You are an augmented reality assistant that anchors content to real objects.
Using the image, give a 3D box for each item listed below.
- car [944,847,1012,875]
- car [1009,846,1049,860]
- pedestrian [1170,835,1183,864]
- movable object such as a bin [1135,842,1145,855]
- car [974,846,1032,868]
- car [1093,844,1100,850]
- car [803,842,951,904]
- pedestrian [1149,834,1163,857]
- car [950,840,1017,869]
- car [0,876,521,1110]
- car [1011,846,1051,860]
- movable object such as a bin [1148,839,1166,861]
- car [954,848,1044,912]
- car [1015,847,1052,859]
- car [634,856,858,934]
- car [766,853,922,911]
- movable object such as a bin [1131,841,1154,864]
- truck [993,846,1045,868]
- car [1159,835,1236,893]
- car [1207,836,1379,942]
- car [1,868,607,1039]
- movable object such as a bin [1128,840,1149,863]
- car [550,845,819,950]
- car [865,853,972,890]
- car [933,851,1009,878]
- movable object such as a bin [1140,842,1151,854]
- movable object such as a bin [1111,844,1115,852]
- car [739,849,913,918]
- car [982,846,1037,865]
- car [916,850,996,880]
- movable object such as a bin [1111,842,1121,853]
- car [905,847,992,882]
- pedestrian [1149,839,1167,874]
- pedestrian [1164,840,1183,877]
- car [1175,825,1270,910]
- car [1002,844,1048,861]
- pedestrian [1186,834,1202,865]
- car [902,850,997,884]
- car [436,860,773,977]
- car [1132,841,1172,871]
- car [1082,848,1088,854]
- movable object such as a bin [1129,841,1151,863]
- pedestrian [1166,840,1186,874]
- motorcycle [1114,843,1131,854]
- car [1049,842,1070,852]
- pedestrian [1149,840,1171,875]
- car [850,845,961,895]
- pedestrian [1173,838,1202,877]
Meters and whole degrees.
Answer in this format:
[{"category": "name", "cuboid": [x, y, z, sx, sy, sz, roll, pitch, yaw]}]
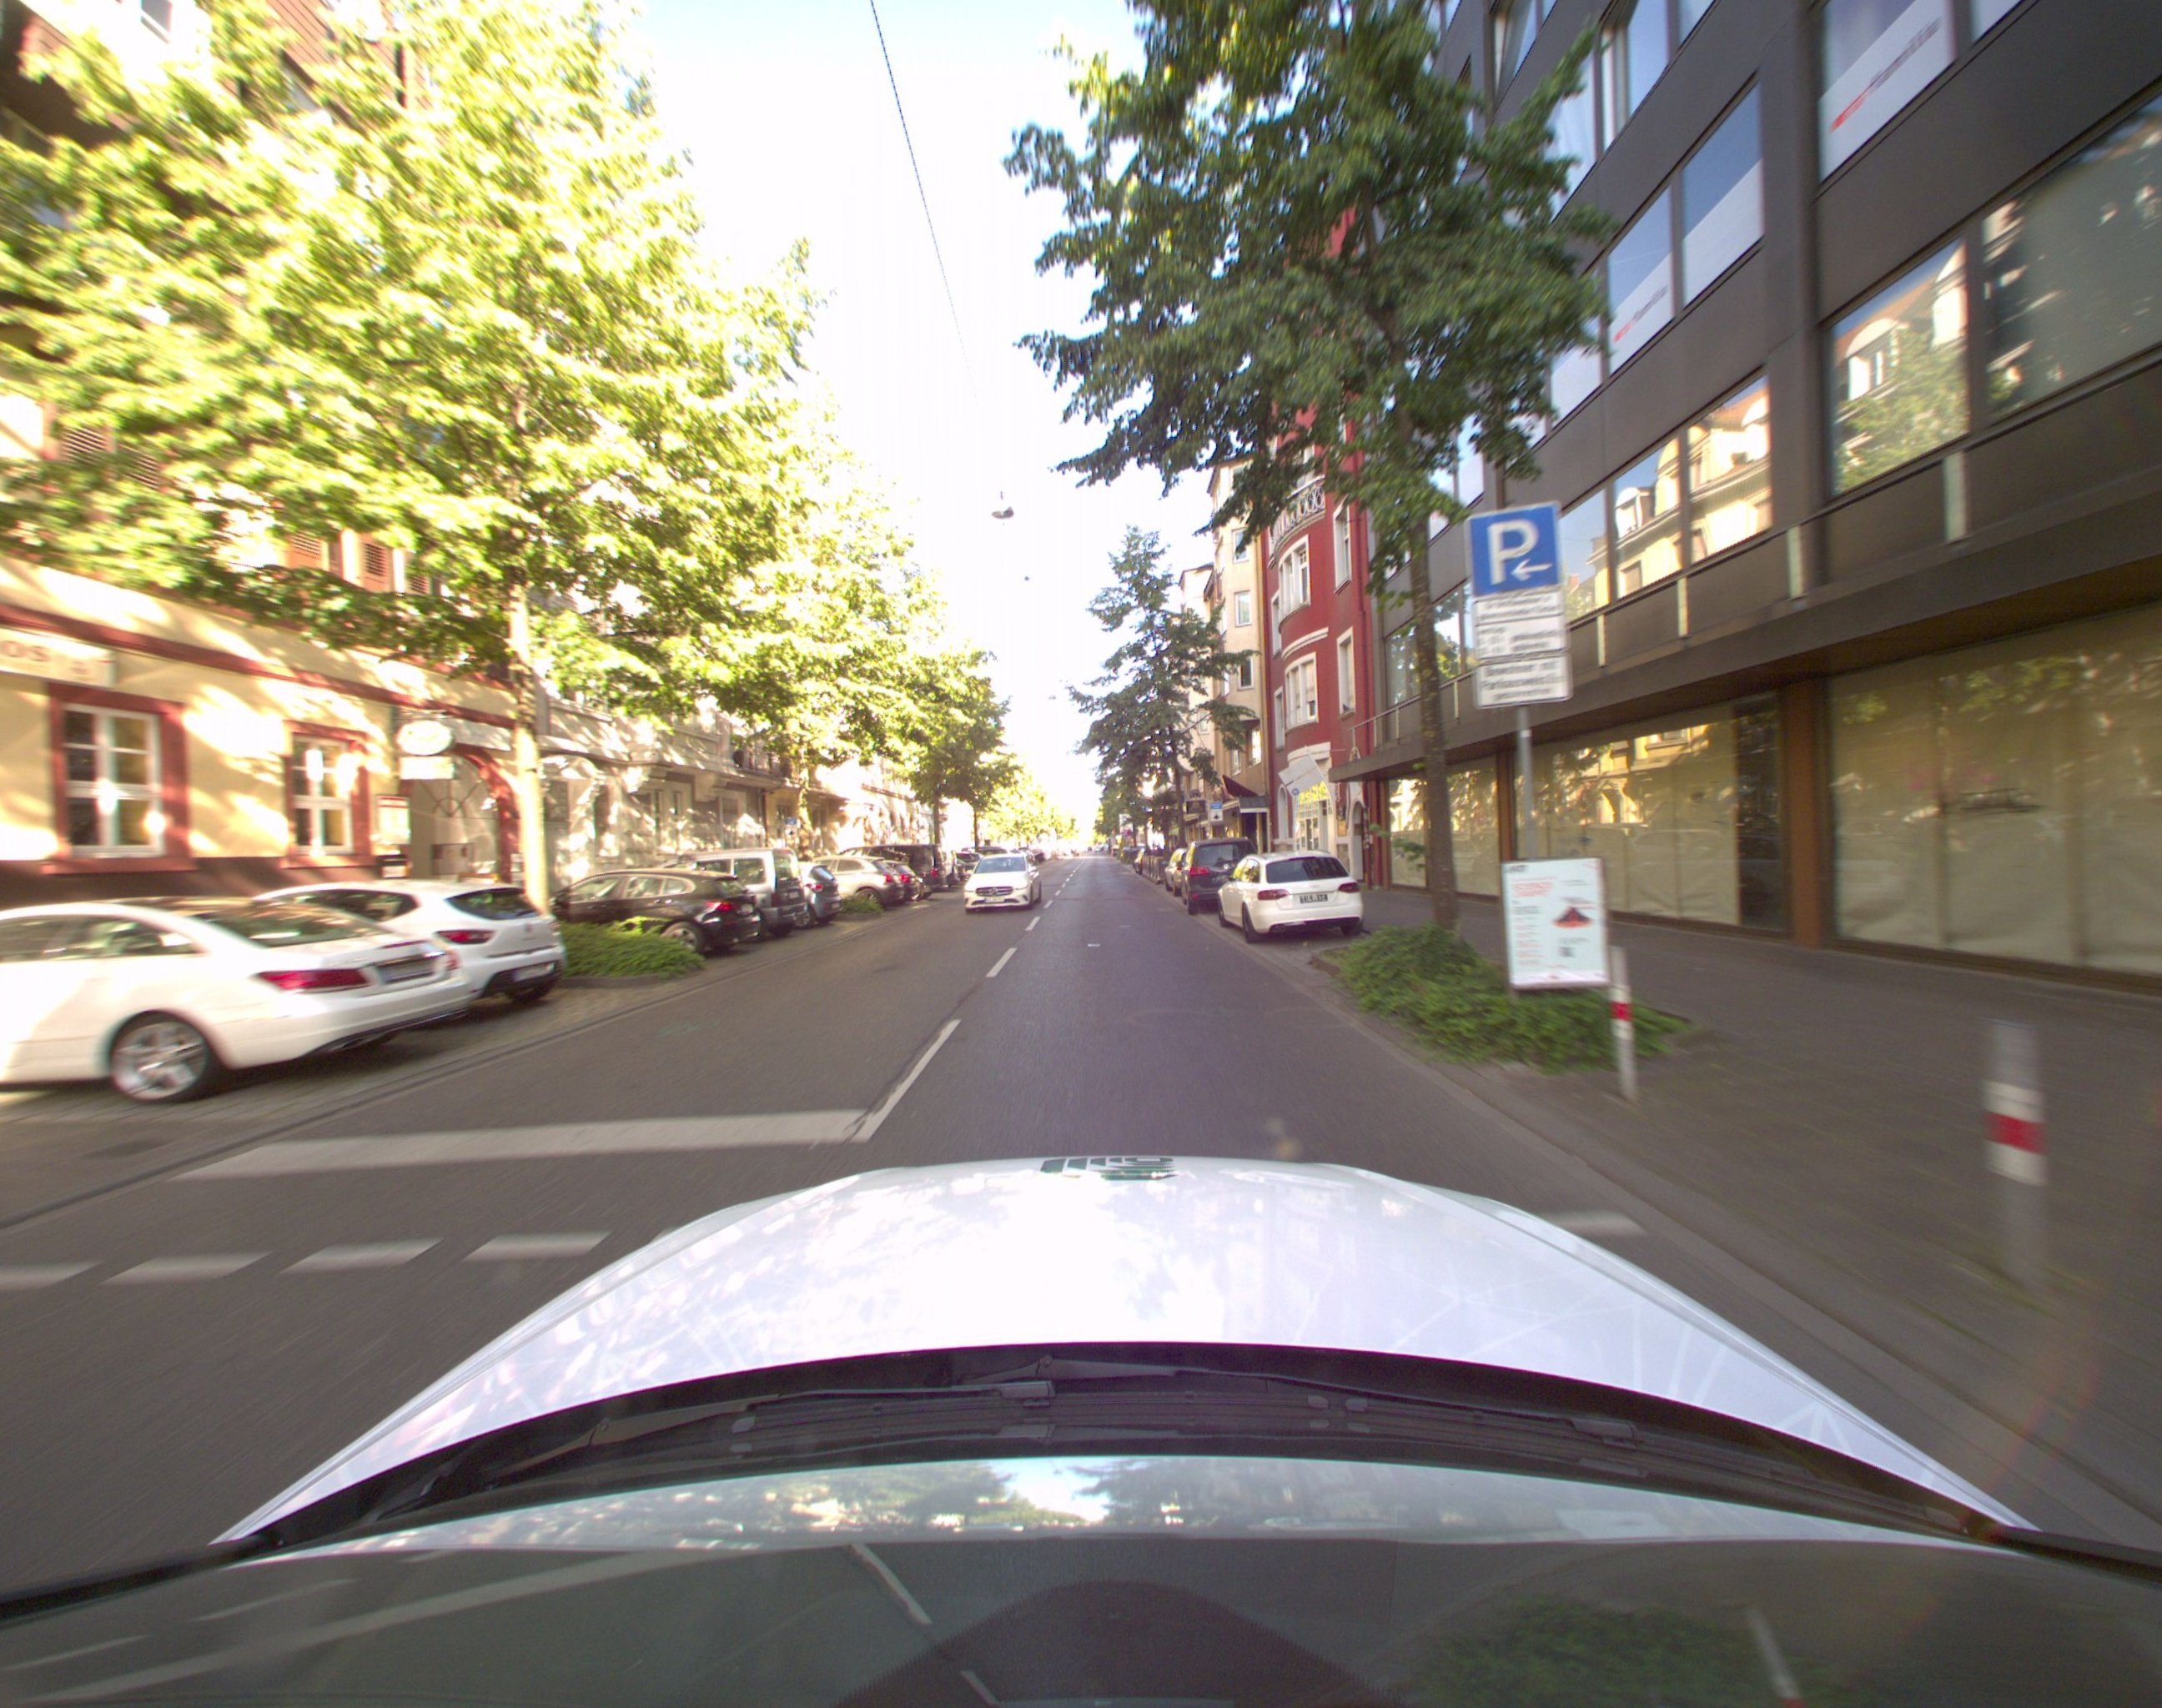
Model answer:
[{"category": "car", "cuboid": [-7.314, 0.485, 58.229, 4.449, 1.772, 1.918, -2, 0, 2]}, {"category": "car", "cuboid": [-6.152, -0.071, 96.324, 4.669, 1.465, 1.806, -2, 0, -3]}, {"category": "pedestrian", "cuboid": [5.805, -0.274, 49.540, 0.614, 1.695, 0.763, -3, 0, 4]}, {"category": "movable object such as a bin", "cuboid": [8.203, -0.772, 113.193, 1.202, 1.627, 1.498, -3, 1, -1]}, {"category": "car", "cuboid": [-6.694, 0.216, 70.028, 4.662, 1.712, 1.809, -2, 0, 2]}, {"category": "car", "cuboid": [4.196, -1.887, 221.031, 1.786, 1.411, 4.001, -3, 1, 1]}, {"category": "car", "cuboid": [-7.064, 0.626, 28.460, 4.554, 1.926, 1.932, -2, 0, 3]}, {"category": "pedestrian", "cuboid": [6.490, -0.705, 70.804, 0.916, 1.935, 0.765, -3, 1, 26]}, {"category": "car", "cuboid": [-7.331, 0.046, 61.276, 4.662, 1.950, 1.918, -2, 0, 2]}, {"category": "car", "cuboid": [-7.547, 0.995, 6.465, 4.690, 1.492, 1.997, -1, -1, -4]}, {"category": "car", "cuboid": [-6.075, -0.114, 99.051, 4.669, 1.465, 1.806, -2, 0, -3]}, {"category": "movable object such as a bin", "cuboid": [5.372, -0.285, 57.569, 1.073, 1.431, 1.295, -3, 1, 1]}, {"category": "car", "cuboid": [-2.219, 0.655, 23.199, 1.903, 1.544, 4.356, -2, 1, 2]}, {"category": "car", "cuboid": [-6.066, -0.162, 104.306, 4.669, 1.412, 1.806, -2, 0, -3]}, {"category": "car", "cuboid": [-7.669, 0.904, 18.885, 4.319, 1.544, 1.919, -2, 0, 5]}, {"category": "car", "cuboid": [-7.434, 0.847, 25.881, 4.327, 1.595, 1.916, -2, 0, -2]}, {"category": "movable object such as a bin", "cuboid": [4.149, -0.120, 55.230, 1.394, 1.453, 1.146, -3, 1, 1]}, {"category": "truck", "cuboid": [-6.304, 0.291, 83.007, 5.068, 1.938, 2.000, -3, 1, 0]}, {"category": "car", "cuboid": [3.785, 0.281, 27.260, 1.816, 1.596, 4.843, -5, 1, 1]}, {"category": "car", "cuboid": [3.513, 0.488, 14.467, 1.815, 1.402, 4.844, -5, 1, 2]}, {"category": "car", "cuboid": [-8.171, 0.995, 8.947, 4.683, 1.492, 2.001, -1, 1, 1]}, {"category": "movable object such as a bin", "cuboid": [4.072, -0.169, 57.573, 1.326, 1.542, 1.146, -3, 1, 1]}, {"category": "car", "cuboid": [-7.740, 0.808, 16.213, 4.322, 1.824, 1.931, -2, 0, 2]}, {"category": "car", "cuboid": [-7.228, 0.781, 36.551, 4.327, 1.439, 1.916, -2, 0, -1]}, {"category": "car", "cuboid": [-6.928, 0.644, 51.607, 4.446, 1.541, 1.919, -2, 0, 4]}, {"category": "movable object such as a bin", "cuboid": [8.878, -0.853, 111.820, 1.267, 1.530, 1.176, -3, 1, -1]}, {"category": "movable object such as a bin", "cuboid": [5.258, -0.958, 132.897, 0.620, 1.179, 0.711, -3, 1, -2]}, {"category": "car", "cuboid": [-7.241, 0.816, 23.460, 4.327, 1.733, 1.916, -2, 0, -2]}, {"category": "car", "cuboid": [-6.384, 0.109, 72.746, 4.662, 1.519, 1.809, -2, 0, 2]}, {"category": "car", "cuboid": [-7.437, 0.646, 48.848, 4.452, 1.541, 1.916, -2, 0, 0]}, {"category": "movable object such as a bin", "cuboid": [4.975, -0.937, 115.778, 1.136, 1.562, 1.463, -3, 1, 9]}, {"category": "car", "cuboid": [-7.180, 0.547, 44.387, 4.325, 1.709, 1.917, -2, 0, 0]}, {"category": "pedestrian", "cuboid": [3.584, 0.109, 37.936, 0.648, 1.536, 0.980, -3, 0, -1]}, {"category": "pedestrian", "cuboid": [4.018, 0.184, 35.517, 0.690, 1.536, 0.777, -3, 0, 2]}, {"category": "car", "cuboid": [3.476, 0.266, 20.896, 1.814, 1.777, 4.937, -5, 1, 5]}, {"category": "car", "cuboid": [-6.046, -0.191, 88.413, 4.662, 1.693, 1.809, -2, 0, 2]}, {"category": "pedestrian", "cuboid": [6.409, -0.238, 46.241, 0.506, 1.695, 0.623, -3, 0, -36]}, {"category": "car", "cuboid": [-6.716, 0.665, 41.897, 4.448, 1.541, 1.918, -2, 0, 2]}, {"category": "car", "cuboid": [-7.603, 0.974, 13.489, 4.341, 1.544, 1.957, -2, 0, -11]}, {"category": "car", "cuboid": [4.016, 0.078, 46.685, 1.816, 1.472, 4.913, -5, 1, 1]}, {"category": "car", "cuboid": [1.119, -0.956, 228.514, 1.797, 1.435, 4.409, -5, 1, 0]}, {"category": "movable object such as a bin", "cuboid": [4.101, -0.121, 56.409, 1.394, 1.453, 1.146, -3, 1, 1]}, {"category": "pedestrian", "cuboid": [4.430, 0.119, 37.903, 0.706, 1.536, 0.773, -3, 0, 15]}, {"category": "motorcycle", "cuboid": [5.413, -0.749, 105.439, 1.979, 1.330, 0.908, -3, 1, -12]}, {"category": "car", "cuboid": [-4.357, -1.437, 166.781, 3.968, 1.694, 2.003, -3, 1, 5]}, {"category": "pedestrian", "cuboid": [3.558, 0.154, 36.637, 0.744, 1.536, 0.811, -3, 0, 15]}, {"category": "car", "cuboid": [-7.185, 0.636, 33.752, 4.338, 1.834, 1.910, -2, 0, -9]}, {"category": "pedestrian", "cuboid": [4.386, 0.125, 33.670, 1.051, 1.536, 0.893, -3, 0, 5]}]
